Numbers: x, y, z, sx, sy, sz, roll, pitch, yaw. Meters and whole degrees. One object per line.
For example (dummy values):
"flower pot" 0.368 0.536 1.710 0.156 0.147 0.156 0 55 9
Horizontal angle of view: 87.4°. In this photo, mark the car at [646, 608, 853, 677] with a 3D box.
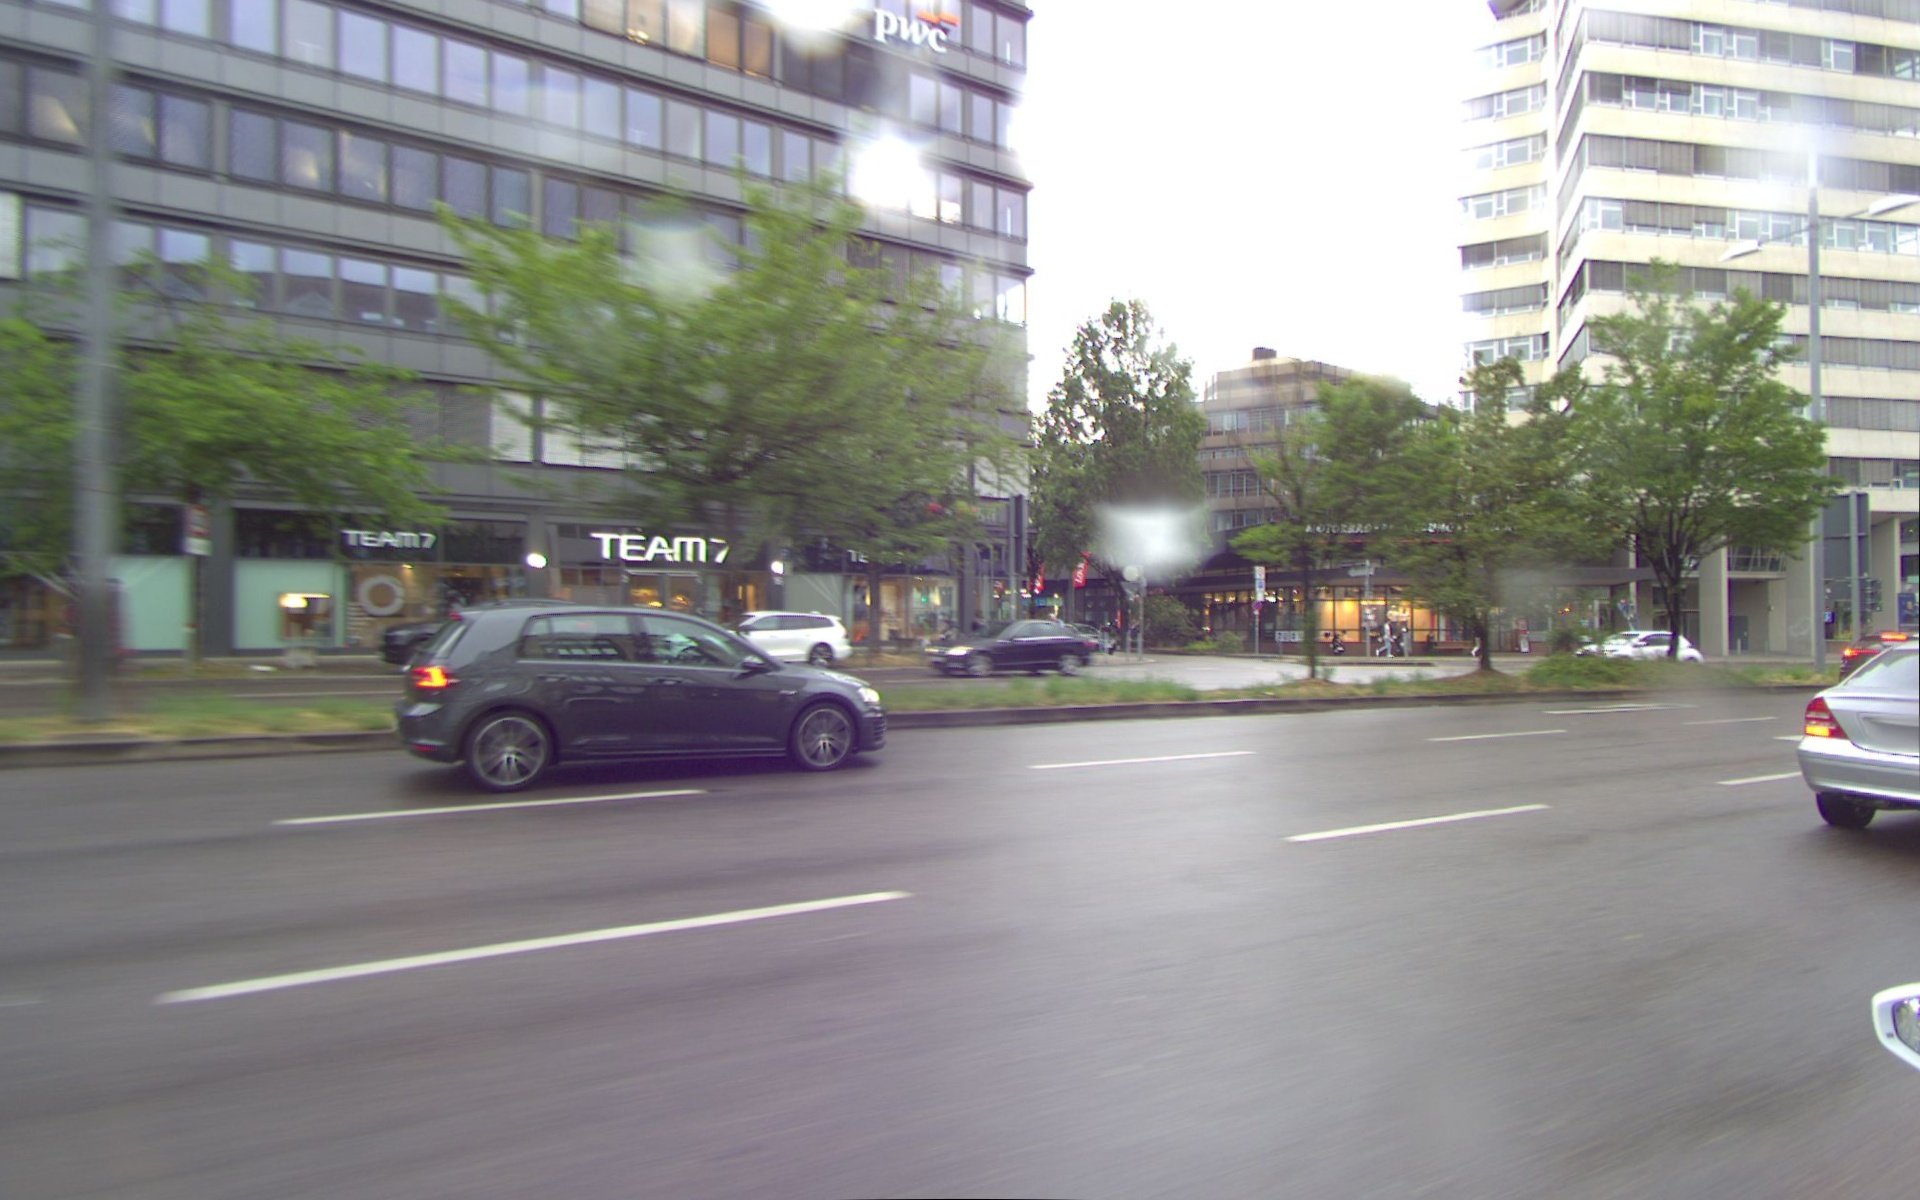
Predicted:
"car" -5.248 1.082 25.252 4.719 1.505 1.799 3 1 -31

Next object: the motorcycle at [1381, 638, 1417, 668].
"motorcycle" 22.347 2.670 51.168 0.788 1.392 2.895 2 -1 6

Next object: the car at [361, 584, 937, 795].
"car" -2.664 0.691 9.026 4.636 1.470 1.829 2 -1 -32

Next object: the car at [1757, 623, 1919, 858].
"car" 7.949 0.987 7.530 4.146 1.505 1.675 3 -2 -29

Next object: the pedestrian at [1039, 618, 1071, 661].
"pedestrian" 3.738 1.550 39.428 0.955 1.659 0.780 2 -2 -31

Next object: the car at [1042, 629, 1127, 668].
"car" 5.844 2.265 47.495 1.977 1.661 3.967 3 -1 -30

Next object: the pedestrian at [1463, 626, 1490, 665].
"pedestrian" 24.886 2.189 48.394 0.908 1.856 0.728 2 -1 -10

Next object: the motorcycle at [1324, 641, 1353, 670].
"motorcycle" 19.426 2.824 51.628 0.709 1.351 2.823 2 -1 8

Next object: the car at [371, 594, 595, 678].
"car" -10.452 0.805 22.130 4.259 1.683 1.800 3 -1 -30

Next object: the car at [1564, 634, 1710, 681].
"car" 23.021 1.947 34.214 4.007 1.450 1.686 2 -1 -7

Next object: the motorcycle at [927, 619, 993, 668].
"motorcycle" 0.034 1.355 31.359 0.845 1.412 2.364 4 0 32

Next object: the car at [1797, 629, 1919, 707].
"car" 20.790 1.486 22.169 4.424 1.564 1.987 2 -2 -27

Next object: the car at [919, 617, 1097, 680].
"car" 1.258 1.241 25.655 4.253 1.495 1.799 3 -2 -31

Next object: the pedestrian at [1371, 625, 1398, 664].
"pedestrian" 20.608 2.154 48.783 0.908 1.856 0.818 2 -1 -10
